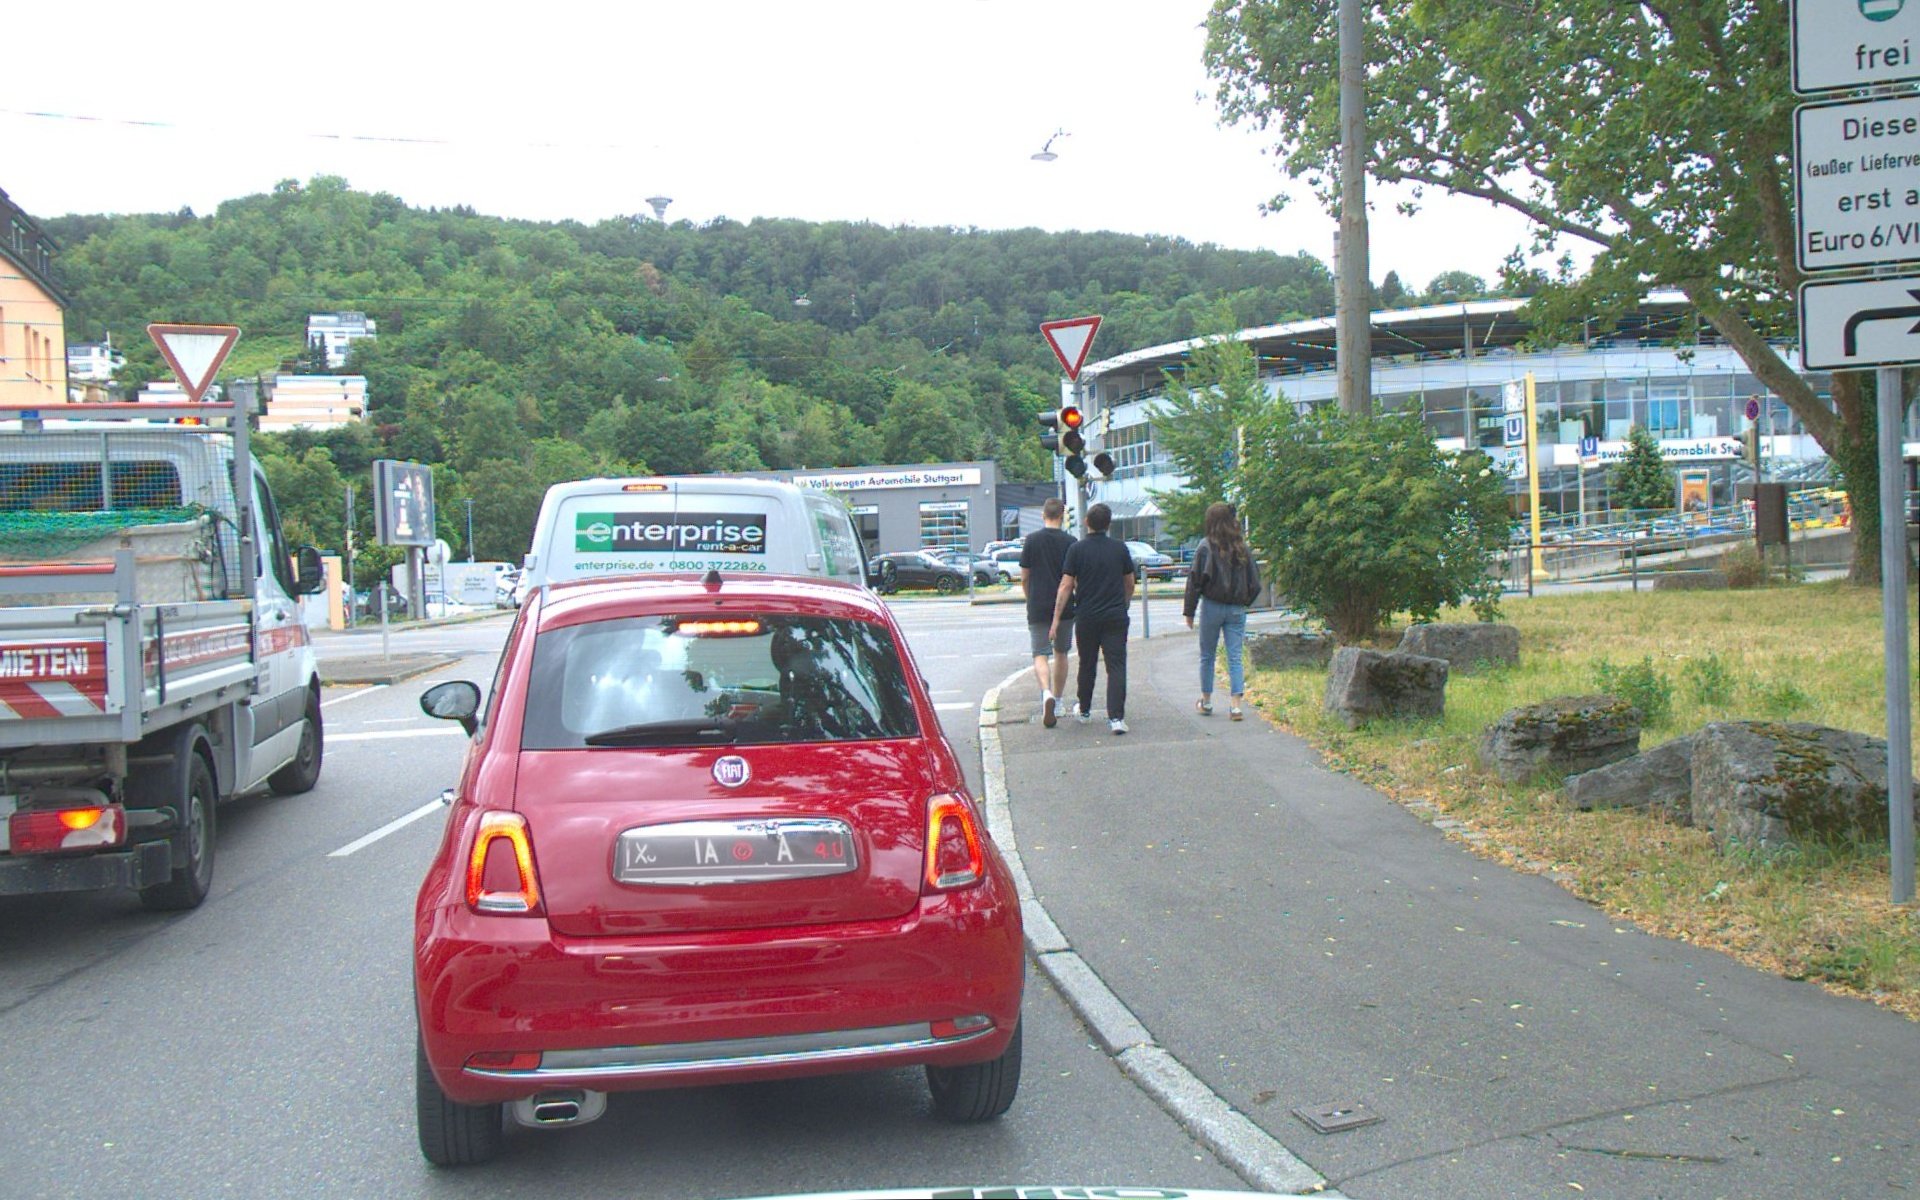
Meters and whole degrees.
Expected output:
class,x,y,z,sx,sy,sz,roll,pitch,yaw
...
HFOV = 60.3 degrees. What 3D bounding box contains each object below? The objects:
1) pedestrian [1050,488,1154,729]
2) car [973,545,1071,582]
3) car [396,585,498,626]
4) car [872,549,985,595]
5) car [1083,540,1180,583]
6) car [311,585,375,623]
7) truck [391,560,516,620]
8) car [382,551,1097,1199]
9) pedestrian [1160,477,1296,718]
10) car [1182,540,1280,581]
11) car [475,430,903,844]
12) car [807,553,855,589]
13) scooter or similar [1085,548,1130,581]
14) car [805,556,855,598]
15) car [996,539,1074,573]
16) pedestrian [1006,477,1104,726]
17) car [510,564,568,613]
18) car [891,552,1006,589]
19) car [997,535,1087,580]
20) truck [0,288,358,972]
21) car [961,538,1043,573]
class,x,y,z,sx,sy,sz,roll,pitch,yaw
pedestrian,1.069,0.053,12.589,0.679,1.744,0.789,-3,1,3
car,3.043,-1.804,81.136,4.696,1.560,1.776,-2,1,2
car,-22.497,0.225,72.636,4.135,1.560,1.768,-3,2,-16
car,-1.150,-1.038,61.375,3.787,1.526,1.777,-2,2,16
car,6.723,-1.507,65.153,1.754,1.526,3.837,-3,2,-33
car,-28.095,0.152,75.411,1.743,1.545,3.627,-2,2,-5
truck,-23.170,-0.487,75.729,5.127,2.434,1.981,-3,2,-29
car,-0.809,0.621,5.515,1.610,1.482,3.421,-2,1,-12
pedestrian,2.062,-0.028,12.784,0.683,1.770,0.784,-3,1,-19
car,10.939,-1.600,67.035,1.753,1.526,3.979,-3,2,-31
car,-1.549,0.139,11.335,1.948,2.143,4.763,-3,1,1
car,-6.105,-1.400,78.770,1.733,1.559,4.092,-2,2,2
scooter or similar,5.583,-1.337,62.390,1.633,1.198,0.468,-2,1,6
car,-6.145,-1.137,78.752,1.952,1.847,4.001,-2,2,1
car,4.569,-2.706,101.203,4.696,1.834,1.776,-2,1,2
pedestrian,0.754,0.002,13.190,0.679,1.889,0.789,-3,1,3
car,-17.304,-0.515,68.142,1.826,1.849,4.393,-3,2,-9
car,-0.465,-1.267,70.629,4.572,1.351,1.777,-2,2,13
car,4.383,-2.312,88.960,4.696,2.194,2.234,-2,1,2
truck,-4.831,0.109,8.653,2.381,2.439,6.008,-3,1,-14
car,2.455,-2.581,96.275,4.696,1.834,1.776,-2,1,2
